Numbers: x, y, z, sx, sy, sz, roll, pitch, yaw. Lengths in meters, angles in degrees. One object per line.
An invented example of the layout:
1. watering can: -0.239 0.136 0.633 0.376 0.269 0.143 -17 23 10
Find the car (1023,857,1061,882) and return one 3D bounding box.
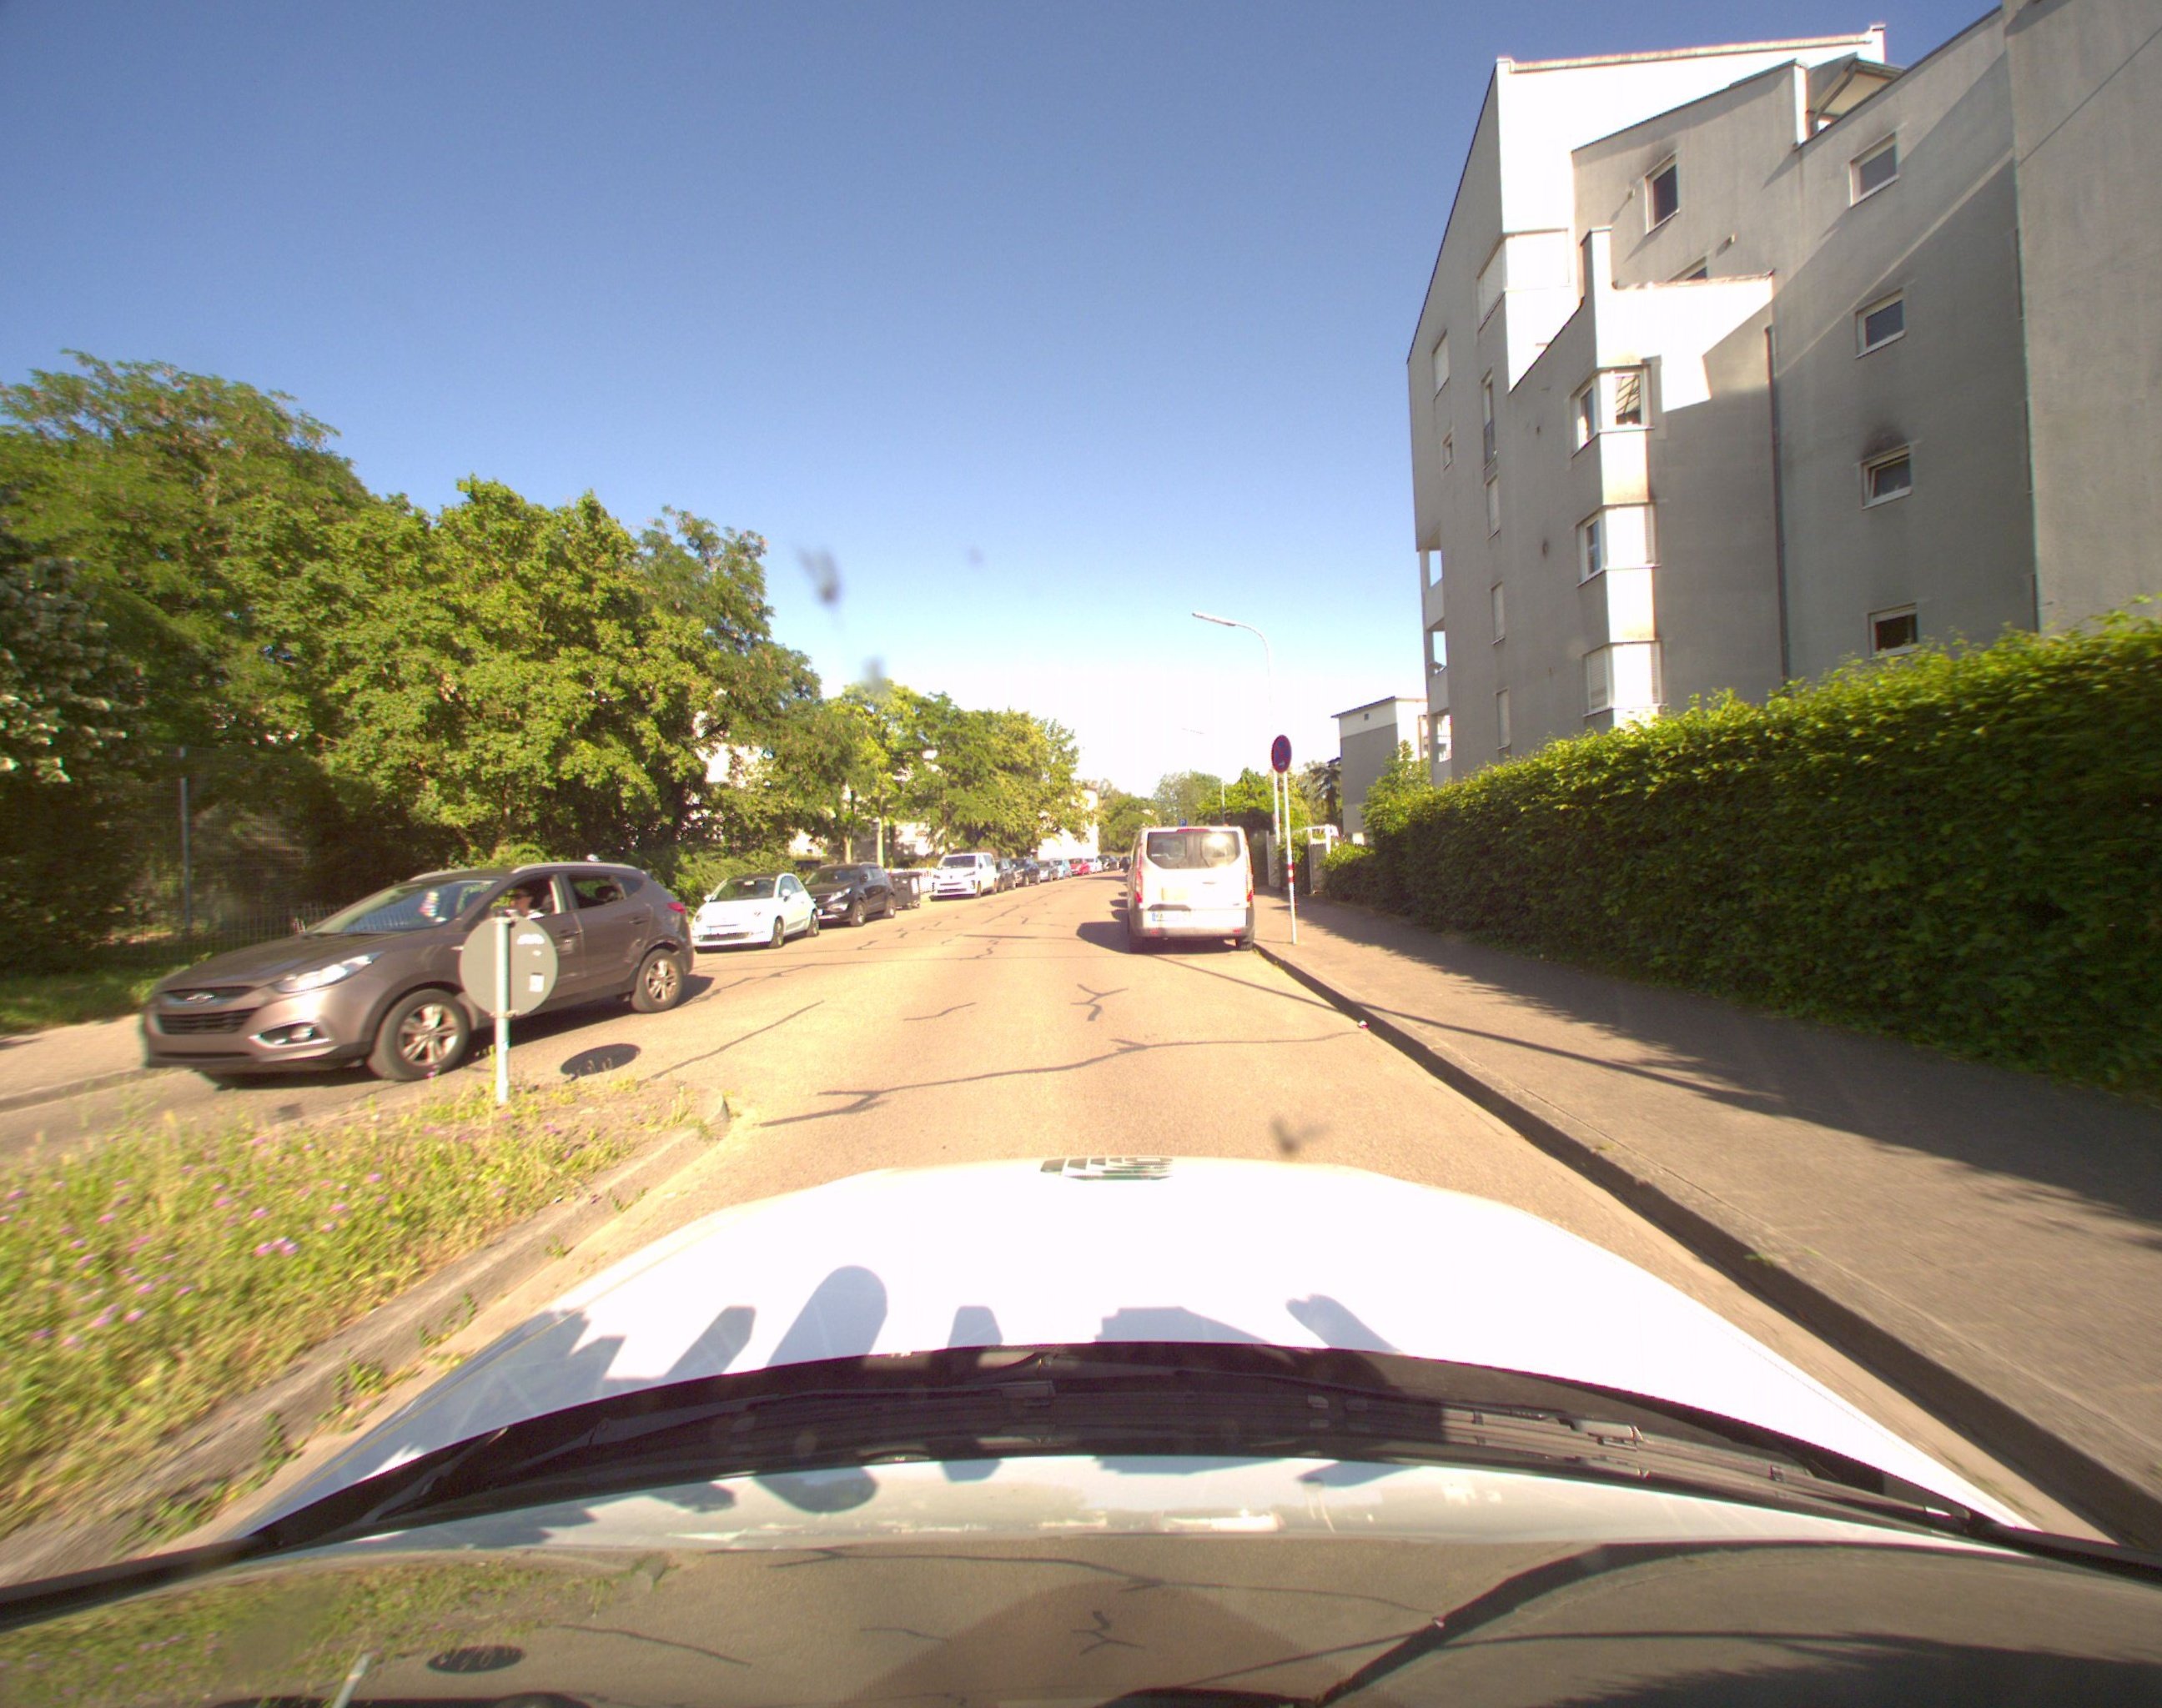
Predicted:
1. car: -2.509 1.006 53.364 1.661 1.437 4.009 -4 -1 8

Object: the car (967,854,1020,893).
1. car: -4.215 0.889 39.904 1.547 1.722 4.349 -3 0 7

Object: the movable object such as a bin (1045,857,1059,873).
1. movable object such as a bin: -2.576 0.961 72.052 0.982 1.418 1.318 -2 0 9

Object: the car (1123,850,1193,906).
1. car: 2.312 0.681 24.979 1.901 1.488 4.380 -2 0 4

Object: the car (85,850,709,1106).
1. car: -5.770 0.878 7.734 1.901 1.705 4.198 -3 0 11

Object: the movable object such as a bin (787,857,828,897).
1. movable object such as a bin: -11.386 0.945 33.942 1.254 1.551 1.279 -2 0 -1

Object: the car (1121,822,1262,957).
1. car: 1.743 0.530 14.452 1.985 1.912 4.956 -2 0 2

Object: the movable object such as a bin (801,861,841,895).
1. movable object such as a bin: -11.413 1.031 35.811 1.270 1.401 1.263 -2 0 2

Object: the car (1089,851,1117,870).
1. car: 2.117 0.634 77.380 1.659 1.666 4.421 -4 -1 13

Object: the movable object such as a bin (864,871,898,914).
1. movable object such as a bin: -6.539 1.249 26.621 0.605 1.340 1.272 -2 0 8

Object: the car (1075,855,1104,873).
1. car: 0.785 0.828 70.864 1.659 1.421 3.915 -3 -1 13

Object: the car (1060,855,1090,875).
1. car: -0.432 0.839 65.222 1.660 1.474 3.689 -4 -1 10

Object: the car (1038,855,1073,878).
1. car: -1.789 0.901 58.482 1.660 1.474 3.689 -4 -1 10

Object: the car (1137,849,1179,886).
1. car: 3.711 0.626 39.708 1.901 1.666 4.380 -2 0 4

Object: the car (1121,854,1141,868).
1. car: 5.495 0.745 88.803 1.650 1.426 4.061 -4 -1 11

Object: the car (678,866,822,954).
1. car: -6.739 1.067 16.959 1.622 1.527 3.417 -3 0 -2

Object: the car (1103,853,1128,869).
1. car: 3.611 0.705 83.534 1.648 1.486 4.068 -4 -1 14

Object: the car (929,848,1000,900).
1. car: -4.865 0.794 34.684 1.855 1.961 4.677 -3 0 5

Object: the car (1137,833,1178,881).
1. car: 4.341 0.144 45.345 2.093 2.486 5.867 -1 0 7

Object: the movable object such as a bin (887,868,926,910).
1. movable object such as a bin: -5.953 1.180 27.812 0.798 1.315 1.325 -2 1 10

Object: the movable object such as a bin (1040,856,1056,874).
1. movable object such as a bin: -2.834 0.972 70.459 1.104 1.498 1.412 -2 0 8

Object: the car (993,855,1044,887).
1. car: -3.465 0.899 45.884 1.737 1.617 4.375 -3 0 10

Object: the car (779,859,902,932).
1. car: -6.306 1.027 21.873 1.667 1.638 4.255 -4 0 4
